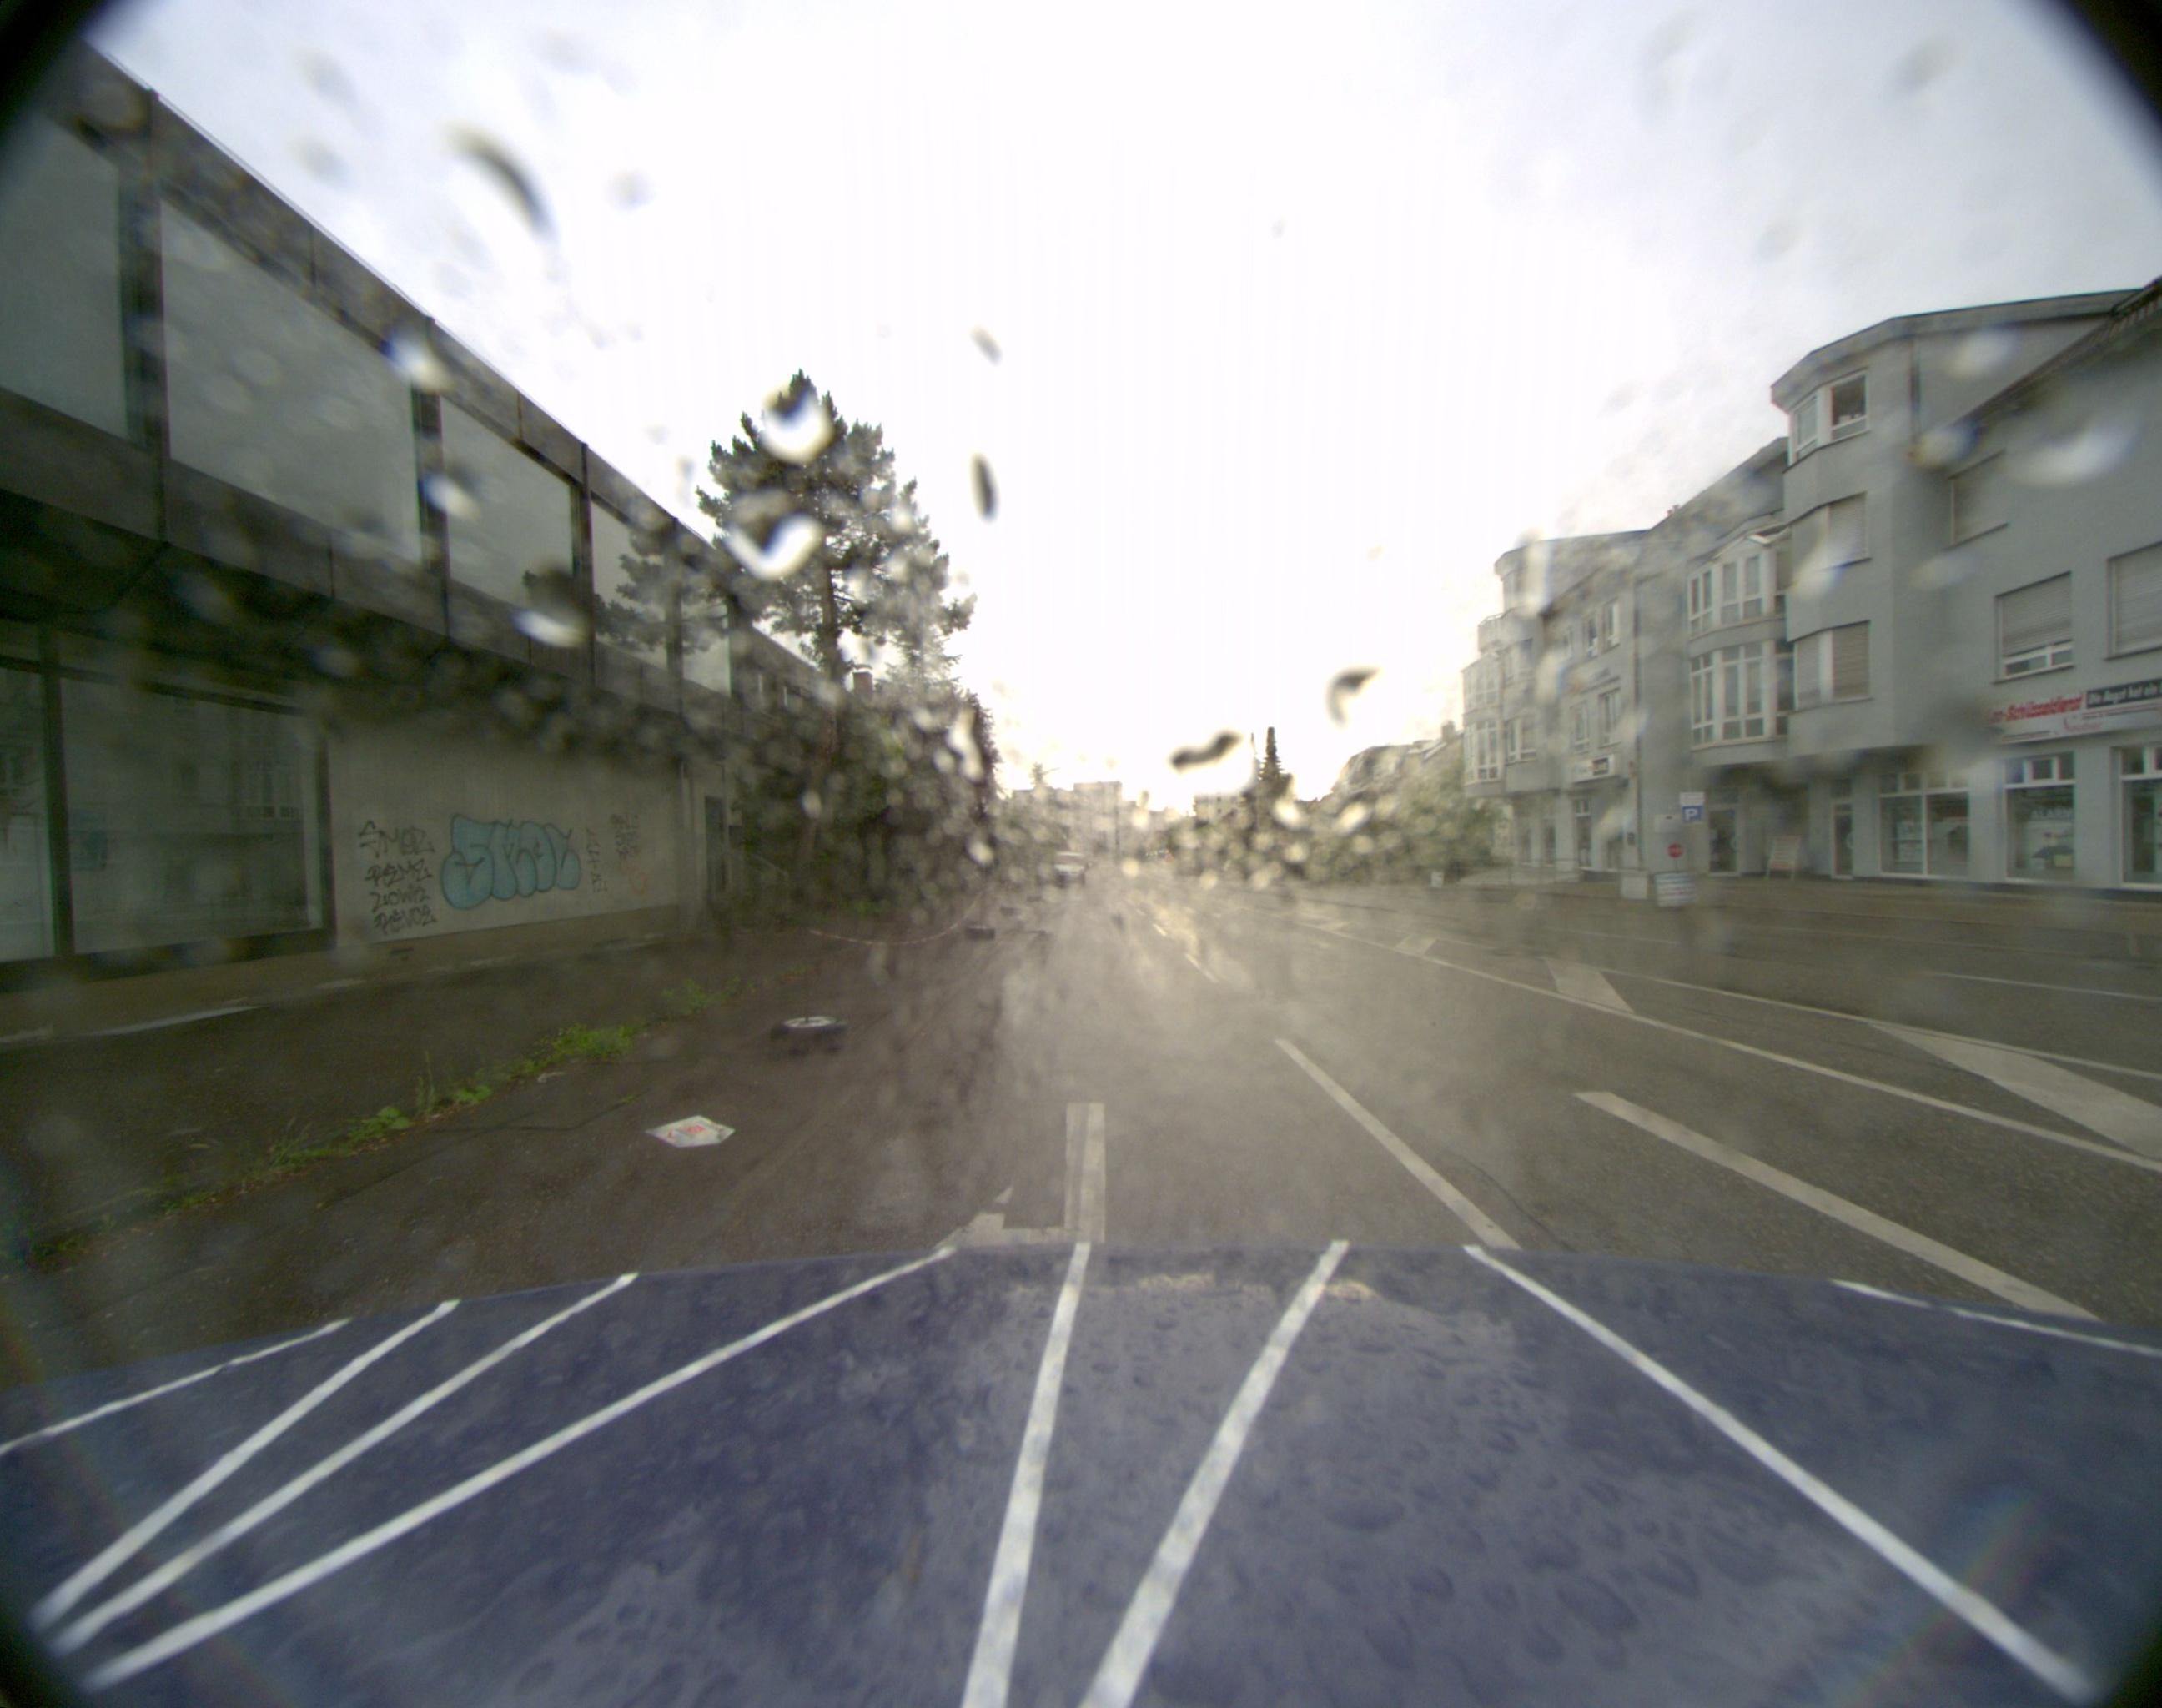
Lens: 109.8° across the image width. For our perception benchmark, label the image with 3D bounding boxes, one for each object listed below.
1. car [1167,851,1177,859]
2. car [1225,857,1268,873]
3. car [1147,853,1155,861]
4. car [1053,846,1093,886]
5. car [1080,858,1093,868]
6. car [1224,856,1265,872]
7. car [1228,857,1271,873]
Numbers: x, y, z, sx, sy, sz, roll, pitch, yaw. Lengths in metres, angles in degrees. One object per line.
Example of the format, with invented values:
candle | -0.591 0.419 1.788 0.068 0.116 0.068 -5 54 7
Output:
car | 21.399 0.239 179.114 1.997 1.606 4.004 -1 0 11
car | 17.071 1.155 78.652 4.155 1.433 1.891 -3 0 8
car | 16.914 0.623 182.598 1.851 1.870 4.123 -1 0 5
car | -0.471 0.762 50.047 2.397 2.417 6.433 0 0 0
car | 0.960 1.504 132.340 1.912 1.622 3.704 -1 0 5
car | 17.474 1.098 81.365 4.114 1.536 2.001 -3 0 6
car | 16.845 1.128 76.168 4.034 1.433 1.813 -3 0 6
